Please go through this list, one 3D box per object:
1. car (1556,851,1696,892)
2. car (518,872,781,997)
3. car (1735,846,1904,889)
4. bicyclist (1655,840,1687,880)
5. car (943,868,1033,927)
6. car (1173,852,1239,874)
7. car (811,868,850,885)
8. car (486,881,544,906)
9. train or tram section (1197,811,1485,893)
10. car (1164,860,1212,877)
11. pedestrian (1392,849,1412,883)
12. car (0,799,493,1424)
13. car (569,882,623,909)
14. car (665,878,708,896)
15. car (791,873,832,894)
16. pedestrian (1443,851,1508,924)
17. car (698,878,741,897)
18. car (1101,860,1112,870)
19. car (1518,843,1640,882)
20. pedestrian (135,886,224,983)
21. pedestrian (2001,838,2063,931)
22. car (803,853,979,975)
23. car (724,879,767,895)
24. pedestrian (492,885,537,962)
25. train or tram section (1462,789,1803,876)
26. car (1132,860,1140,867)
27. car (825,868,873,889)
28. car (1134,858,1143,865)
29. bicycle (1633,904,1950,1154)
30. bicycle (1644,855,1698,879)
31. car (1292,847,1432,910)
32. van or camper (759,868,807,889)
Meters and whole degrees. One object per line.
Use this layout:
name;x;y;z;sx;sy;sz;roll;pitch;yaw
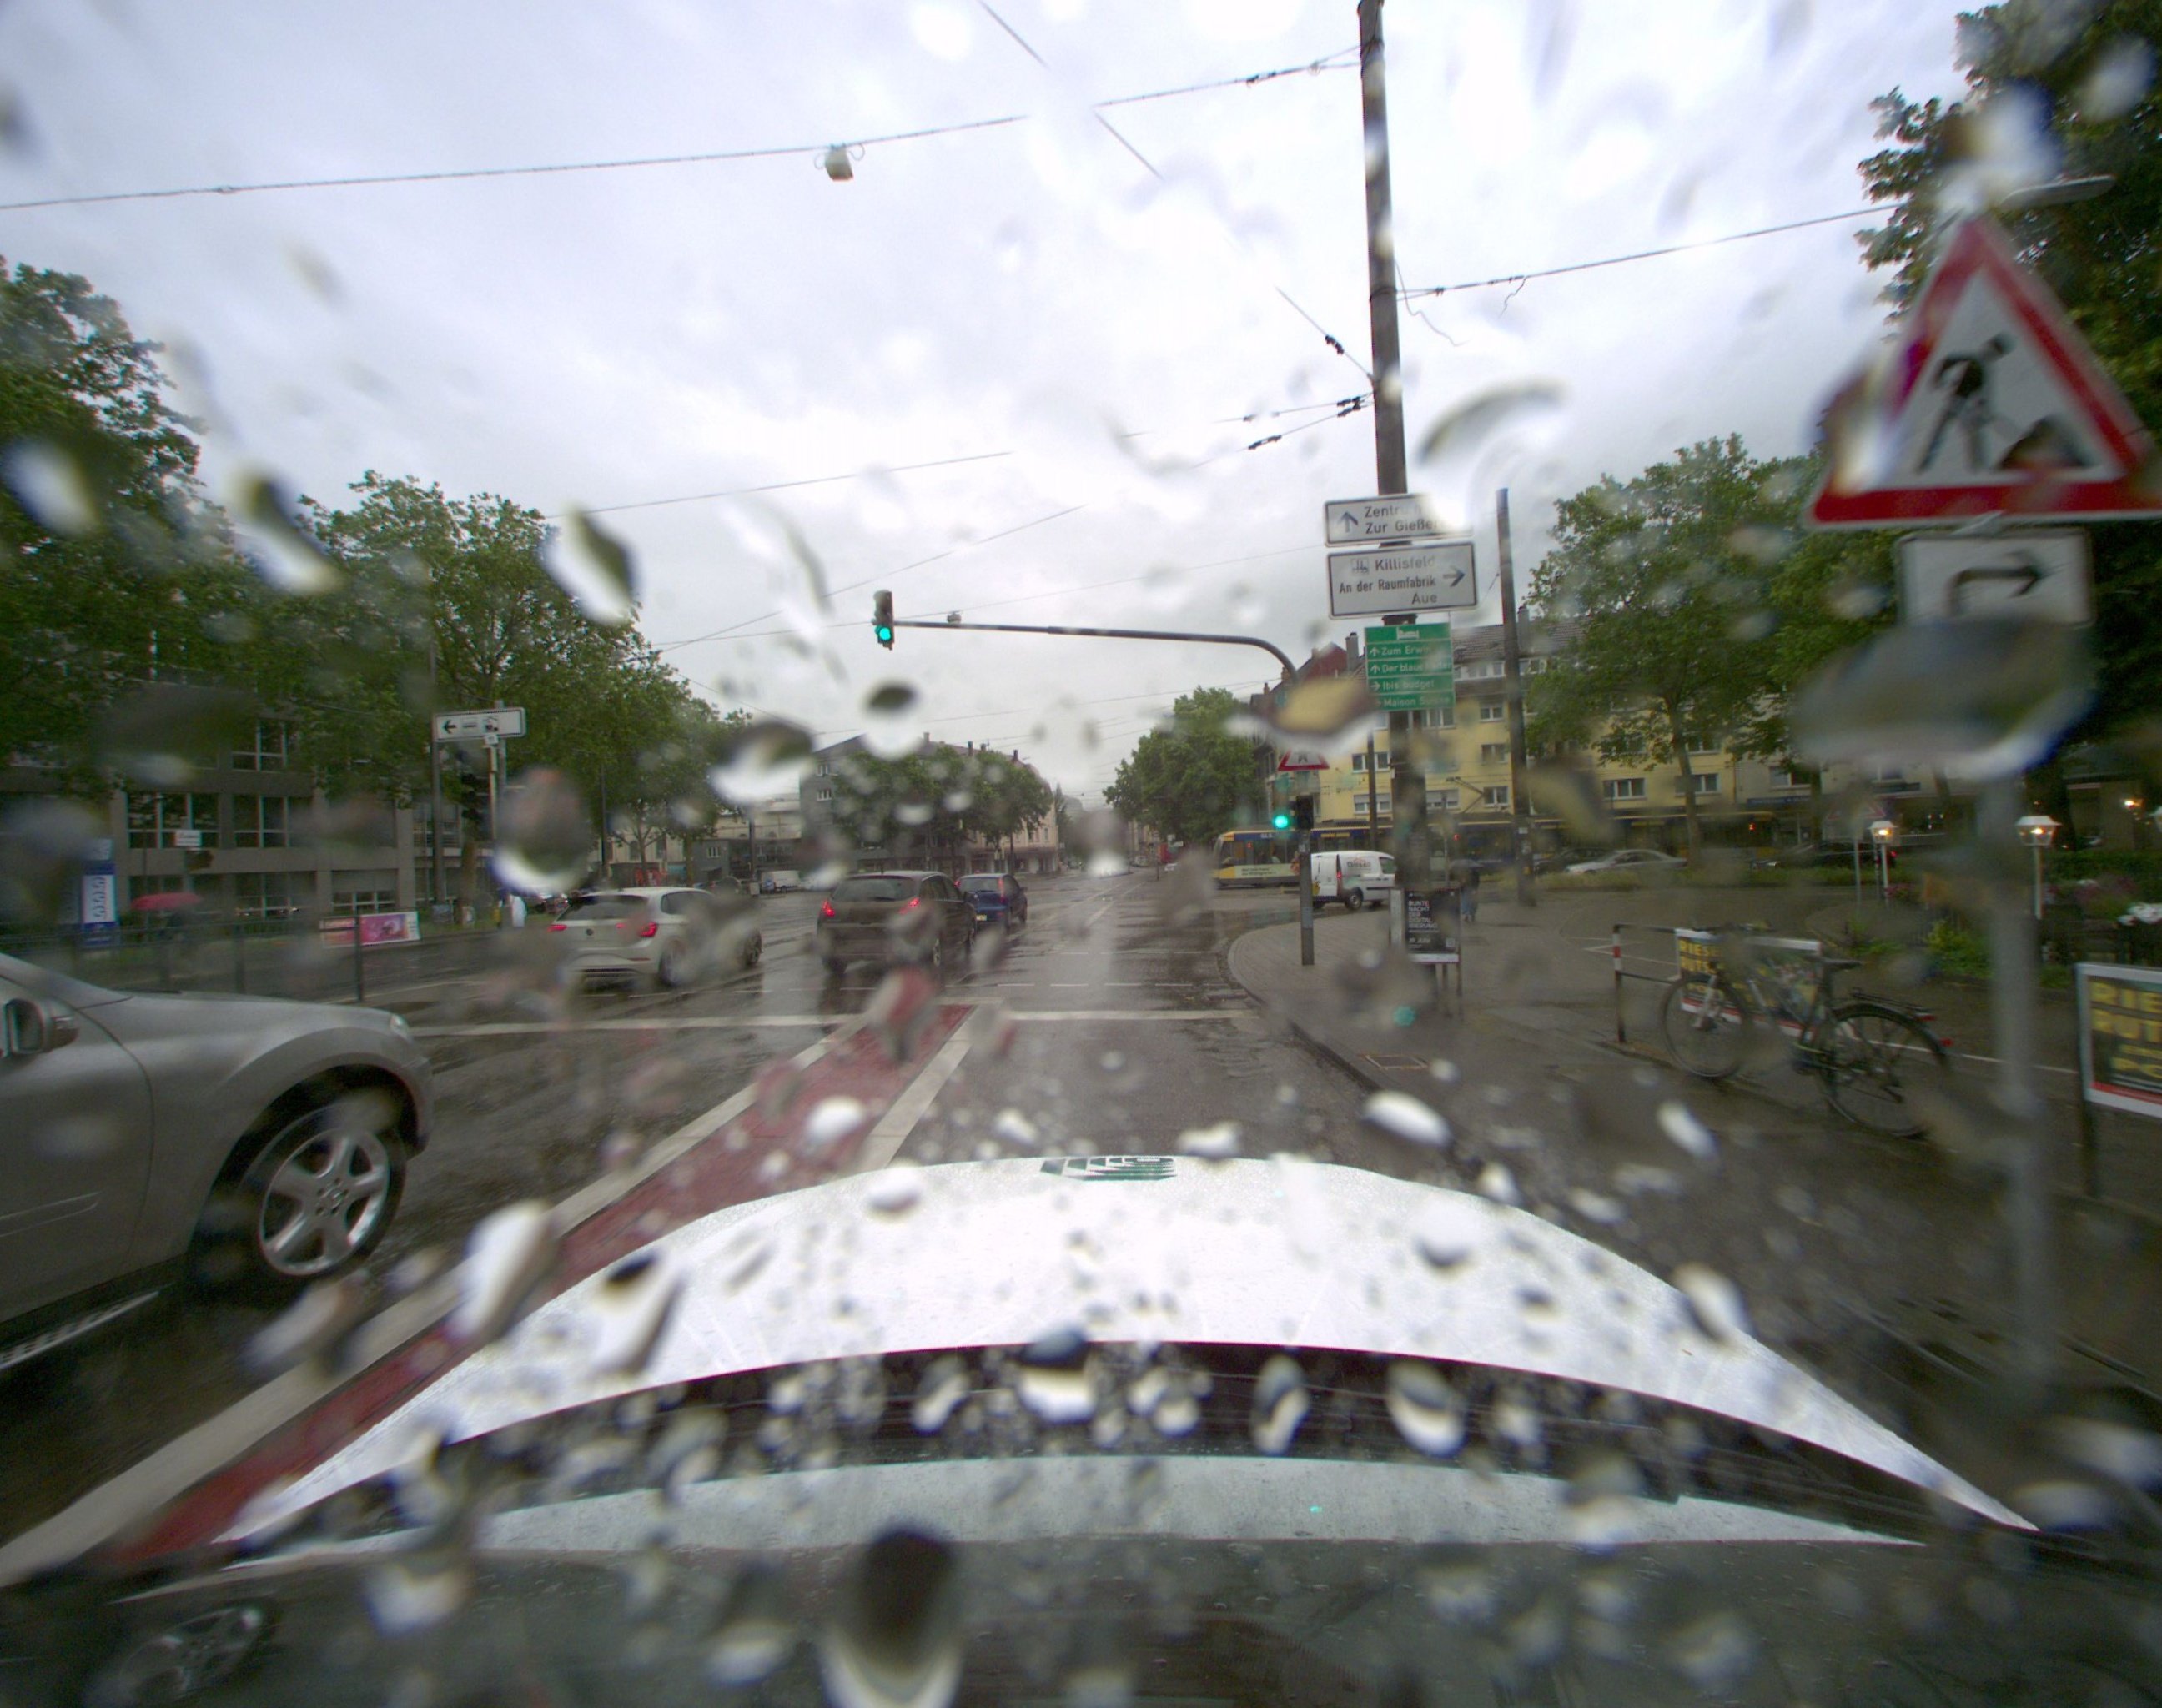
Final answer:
car;22.360;0.715;33.603;4.453;1.489;1.747;-3;0;14
car;-6.593;1.137;13.068;1.799;1.537;4.193;-2;0;2
car;29.222;0.529;32.392;4.590;1.485;1.870;-3;0;15
bicyclist;26.183;0.273;36.151;0.881;1.716;0.717;-1;0;12
car;-2.459;1.189;22.408;1.875;1.459;3.833;-1;-3;2
car;10.292;0.725;67.162;4.969;1.474;1.995;-3;0;-7
car;-26.313;2.355;85.709;1.905;1.618;4.019;-2;0;18
car;-43.538;3.071;62.674;3.949;1.772;2.017;-2;-1;27
train or tram section;13.769;-0.121;43.812;14.495;3.558;3.113;-3;0;-3
car;11.440;1.557;87.097;4.538;1.556;2.011;-3;0;24
pedestrian;16.334;0.606;41.407;0.804;1.677;1.023;-2;-1;27
car;-3.826;0.698;1.556;1.901;1.646;4.681;-1;0;1
car;-35.549;3.039;59.704;3.948;1.771;1.815;-2;1;34
car;-45.587;3.777;94.181;1.974;1.764;4.026;-3;0;32
car;-28.462;3.075;86.111;1.977;2.013;4.019;-2;0;18
pedestrian;9.430;0.785;19.472;1.003;1.667;1.092;-1;0;-43
car;-40.131;3.675;90.479;1.974;2.014;4.025;-1;-2;31
car;4.814;2.070;151.625;1.987;1.689;4.000;0;-1;1
car;22.357;0.382;36.719;4.243;1.501;1.885;-3;0;10
pedestrian;-17.137;1.492;15.511;0.954;1.711;0.820;-2;0;-37
pedestrian;17.383;0.557;14.888;0.546;1.645;0.389;-4;-1;2
car;-2.994;0.866;13.806;1.794;1.709;4.193;-1;0;2
car;-36.347;3.550;88.272;1.975;1.614;4.023;-2;-3;26
pedestrian;-12.430;1.497;17.878;0.739;1.610;0.709;-2;-1;-37
train or tram section;28.167;-1.001;42.502;14.528;3.558;3.127;-3;0;12
car;10.826;1.906;160.744;1.470;1.363;3.463;0;-1;2
car;-23.830;2.475;83.744;2.041;2.013;4.425;-1;0;31
car;10.887;1.431;154.186;1.470;1.363;3.463;0;-1;2
bicycle;4.250;0.953;5.072;0.421;1.168;1.792;0;0;0
bicycle;26.181;0.567;36.155;1.798;1.031;0.722;-1;0;11
car;9.009;0.730;26.081;4.123;1.797;1.893;-1;0;-28
van or camper;-31.503;2.565;86.279;1.975;2.075;4.681;-2;-1;25
